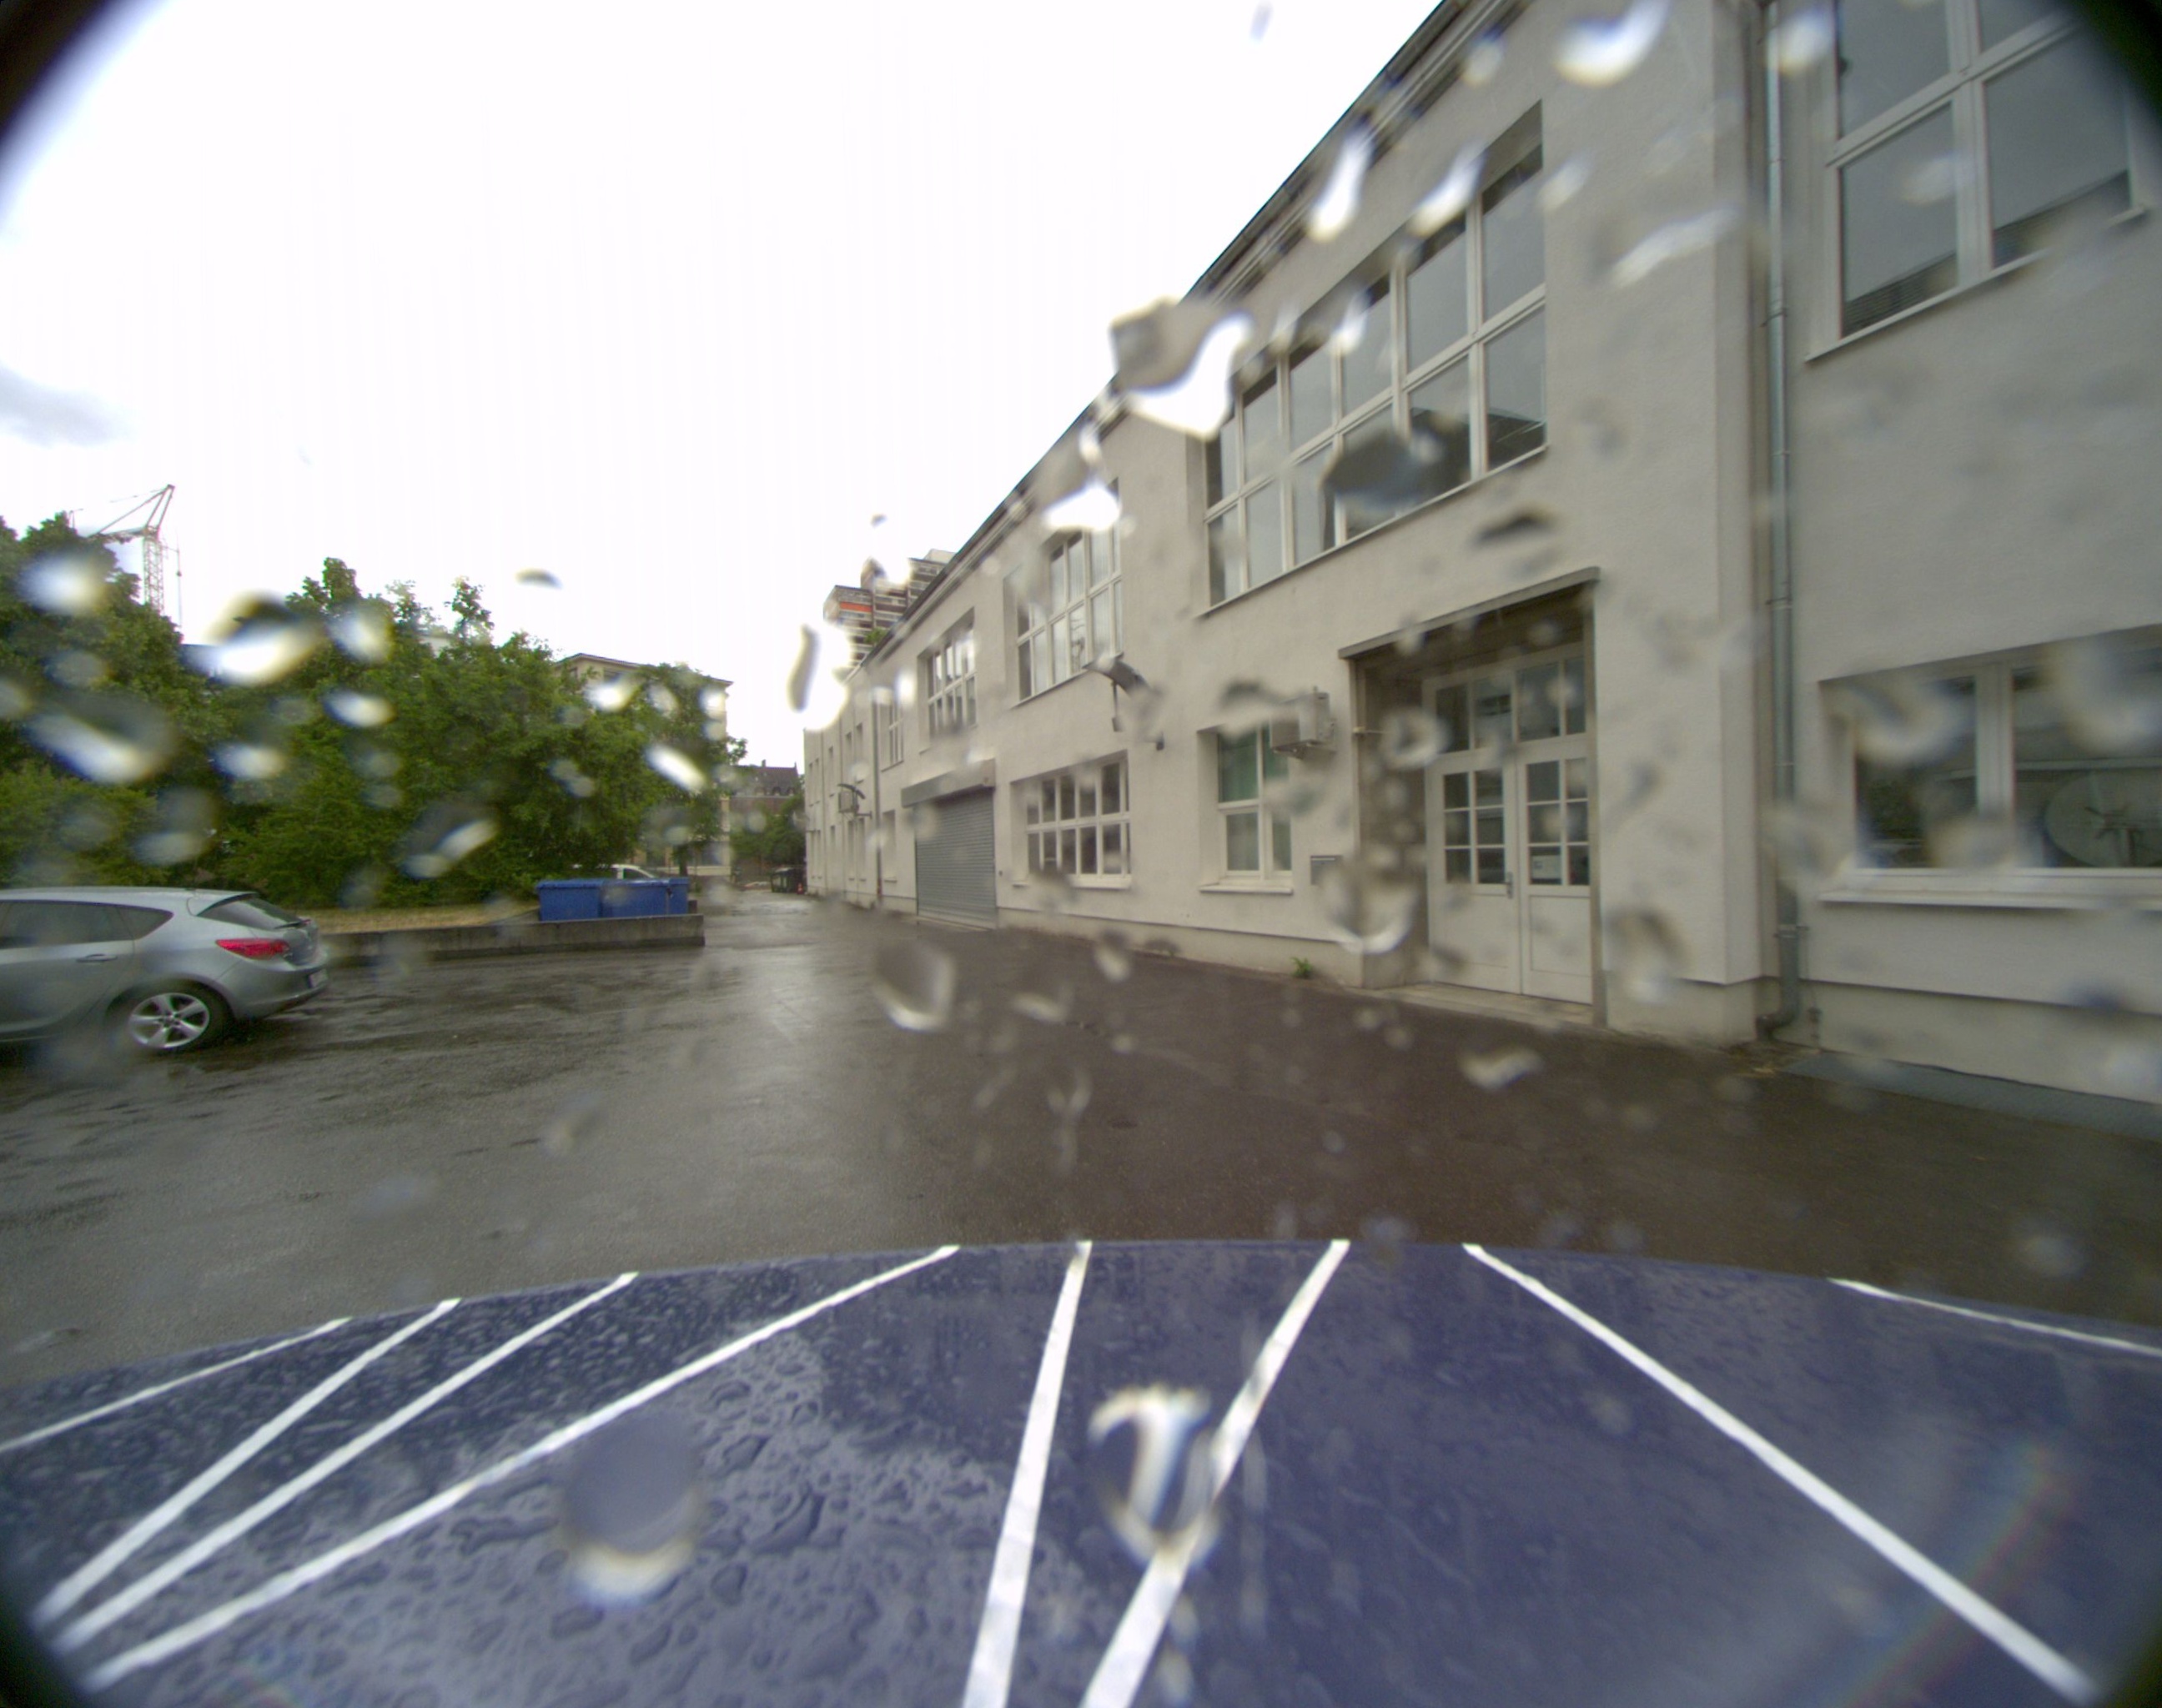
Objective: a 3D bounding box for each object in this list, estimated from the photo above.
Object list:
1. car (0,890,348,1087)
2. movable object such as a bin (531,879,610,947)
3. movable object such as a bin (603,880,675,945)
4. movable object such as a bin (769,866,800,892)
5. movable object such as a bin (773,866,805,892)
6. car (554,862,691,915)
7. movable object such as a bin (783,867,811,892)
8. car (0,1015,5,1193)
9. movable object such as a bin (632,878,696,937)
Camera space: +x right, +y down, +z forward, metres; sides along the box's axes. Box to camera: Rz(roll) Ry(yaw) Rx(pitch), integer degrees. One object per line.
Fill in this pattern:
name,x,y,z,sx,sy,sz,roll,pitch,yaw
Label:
car,-9.647,1.169,6.691,4.228,1.481,1.995,-1,-1,-32
movable object such as a bin,-11.454,1.296,17.146,1.235,1.349,1.967,-3,-1,-28
movable object such as a bin,-10.287,1.332,17.776,1.315,1.349,1.901,-3,-1,-28
movable object such as a bin,-18.073,1.519,46.324,1.495,1.439,1.311,-3,-1,-33
movable object such as a bin,-17.358,1.482,45.183,1.495,1.439,1.311,-3,-1,-33
car,-19.138,1.446,32.001,4.703,1.870,2.120,-3,-2,-26
movable object such as a bin,-16.427,1.470,43.925,1.190,1.365,1.311,-3,-1,-33
car,-7.225,1.130,2.225,4.228,1.481,1.995,-1,-1,-32
movable object such as a bin,-10.779,1.361,19.681,1.315,1.349,1.901,-3,-1,-28
